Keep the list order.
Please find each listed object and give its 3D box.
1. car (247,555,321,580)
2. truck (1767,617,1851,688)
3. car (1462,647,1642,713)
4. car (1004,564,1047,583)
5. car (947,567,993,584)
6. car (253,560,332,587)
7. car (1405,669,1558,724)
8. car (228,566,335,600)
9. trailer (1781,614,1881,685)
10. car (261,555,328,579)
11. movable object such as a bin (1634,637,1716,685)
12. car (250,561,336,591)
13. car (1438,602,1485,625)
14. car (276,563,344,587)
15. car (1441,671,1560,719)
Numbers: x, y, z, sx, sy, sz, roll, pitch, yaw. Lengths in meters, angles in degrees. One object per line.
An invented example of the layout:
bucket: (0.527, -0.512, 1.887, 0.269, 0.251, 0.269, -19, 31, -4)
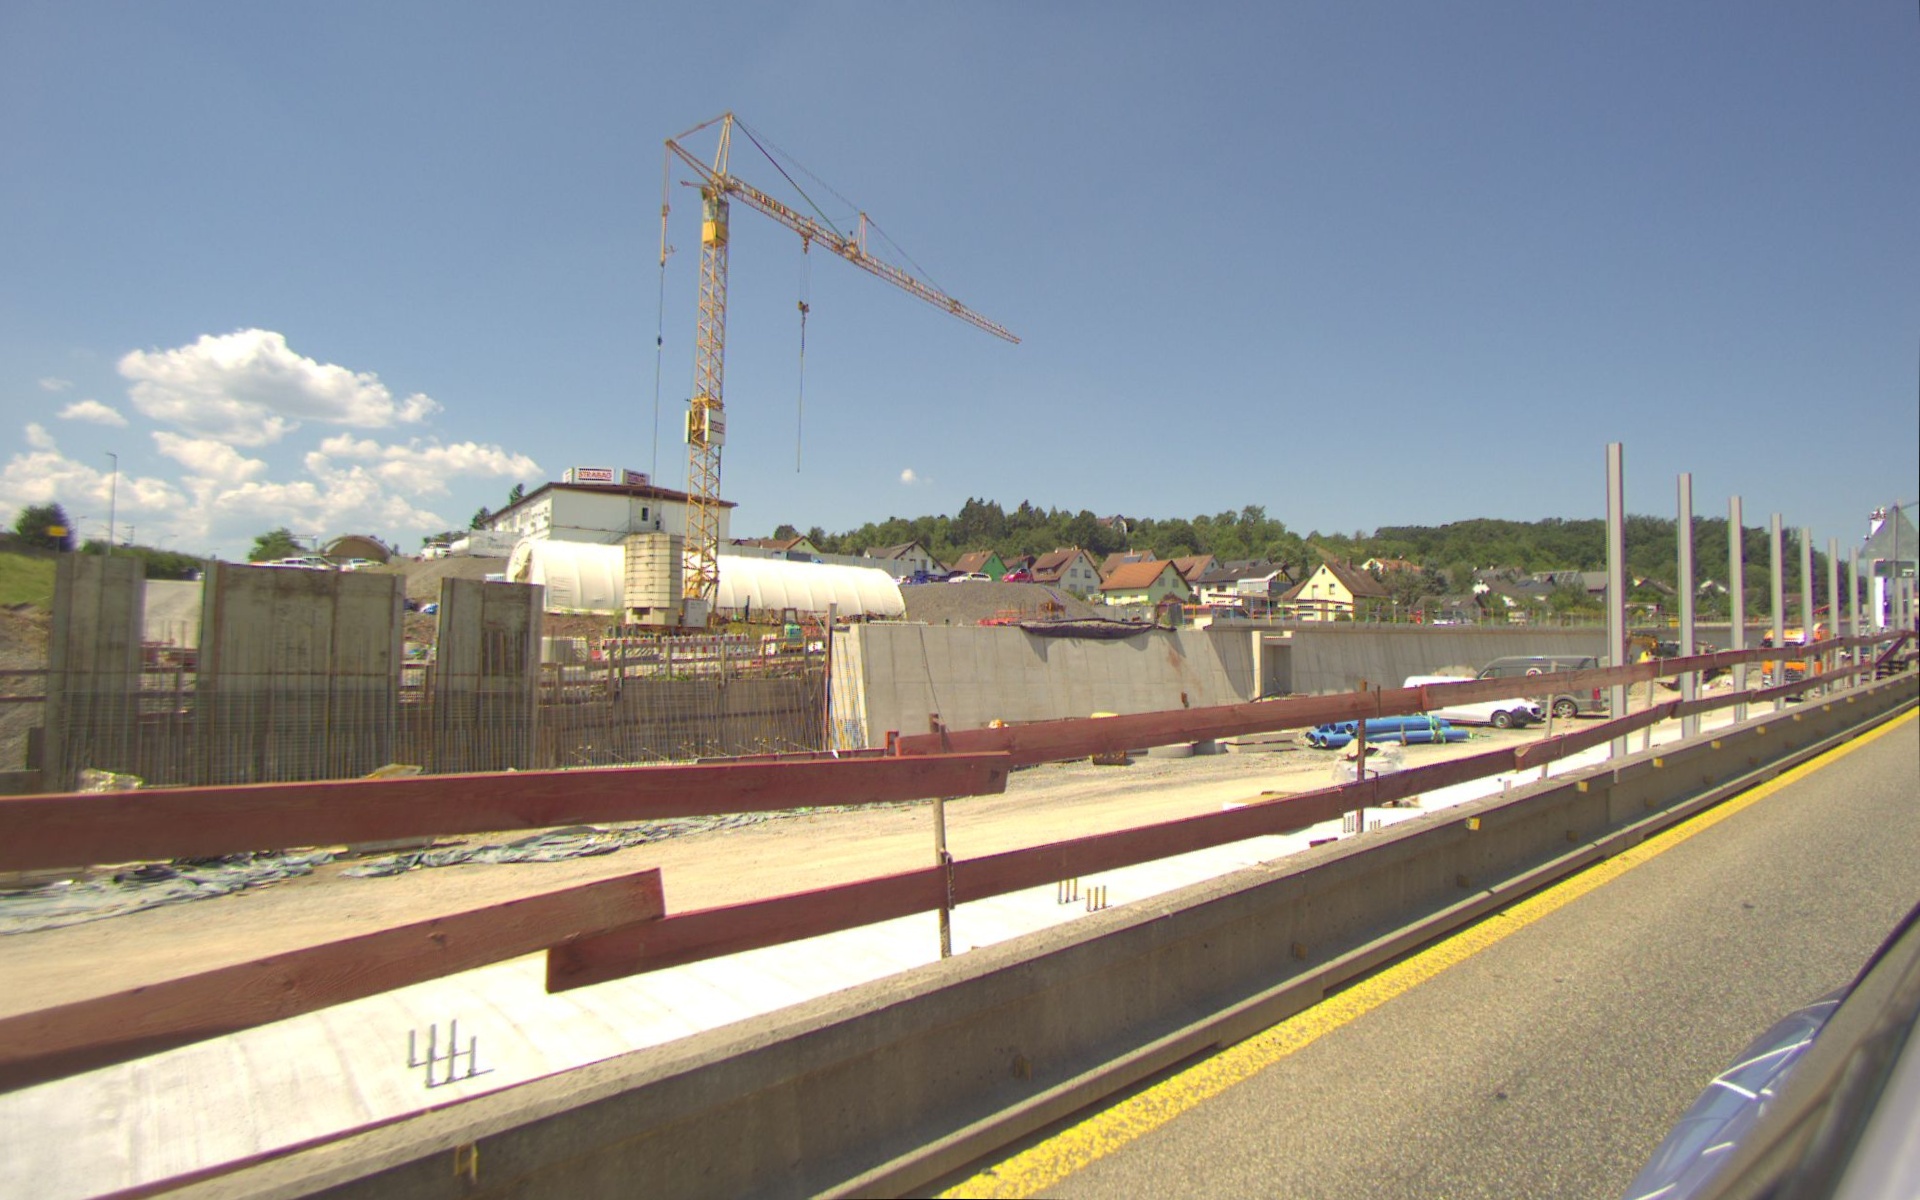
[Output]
car: (-55.120, -2.633, 82.528, 4.894, 1.984, 1.999, -1, 0, -37)
truck: (44.775, 2.677, 53.338, 5.341, 3.448, 2.503, -1, 0, -41)
car: (24.756, 3.355, 42.501, 6.267, 2.616, 2.027, -4, -5, 37)
car: (5.477, -2.237, 85.030, 3.544, 1.505, 1.544, -1, 0, -41)
car: (0.935, -2.211, 92.879, 4.141, 1.505, 1.727, -1, 0, -41)
car: (-50.664, -1.986, 76.808, 4.894, 1.984, 1.999, -1, 0, -37)
car: (19.489, 3.552, 37.983, 1.689, 1.792, 4.797, 1, -3, -40)
car: (-42.286, -1.049, 63.122, 5.468, 1.984, 1.999, -1, 0, -37)
trailer: (49.769, 2.655, 57.624, 12.669, 3.394, 2.444, -1, 0, -41)
car: (-59.616, -2.921, 90.681, 4.894, 1.984, 1.999, -1, 0, -37)
movable object such as a bin: (47.232, 3.974, 66.886, 3.924, 2.820, 3.270, -1, 0, -35)
car: (-46.465, -1.652, 70.518, 4.894, 1.984, 1.999, -1, 0, -37)
car: (38.241, 1.017, 77.171, 4.527, 1.623, 1.656, -1, 0, -42)
car: (-57.085, -2.169, 88.877, 4.894, 1.984, 1.999, -1, 0, -37)
car: (21.554, 3.760, 40.469, 3.859, 1.708, 1.665, -3, -3, 45)
